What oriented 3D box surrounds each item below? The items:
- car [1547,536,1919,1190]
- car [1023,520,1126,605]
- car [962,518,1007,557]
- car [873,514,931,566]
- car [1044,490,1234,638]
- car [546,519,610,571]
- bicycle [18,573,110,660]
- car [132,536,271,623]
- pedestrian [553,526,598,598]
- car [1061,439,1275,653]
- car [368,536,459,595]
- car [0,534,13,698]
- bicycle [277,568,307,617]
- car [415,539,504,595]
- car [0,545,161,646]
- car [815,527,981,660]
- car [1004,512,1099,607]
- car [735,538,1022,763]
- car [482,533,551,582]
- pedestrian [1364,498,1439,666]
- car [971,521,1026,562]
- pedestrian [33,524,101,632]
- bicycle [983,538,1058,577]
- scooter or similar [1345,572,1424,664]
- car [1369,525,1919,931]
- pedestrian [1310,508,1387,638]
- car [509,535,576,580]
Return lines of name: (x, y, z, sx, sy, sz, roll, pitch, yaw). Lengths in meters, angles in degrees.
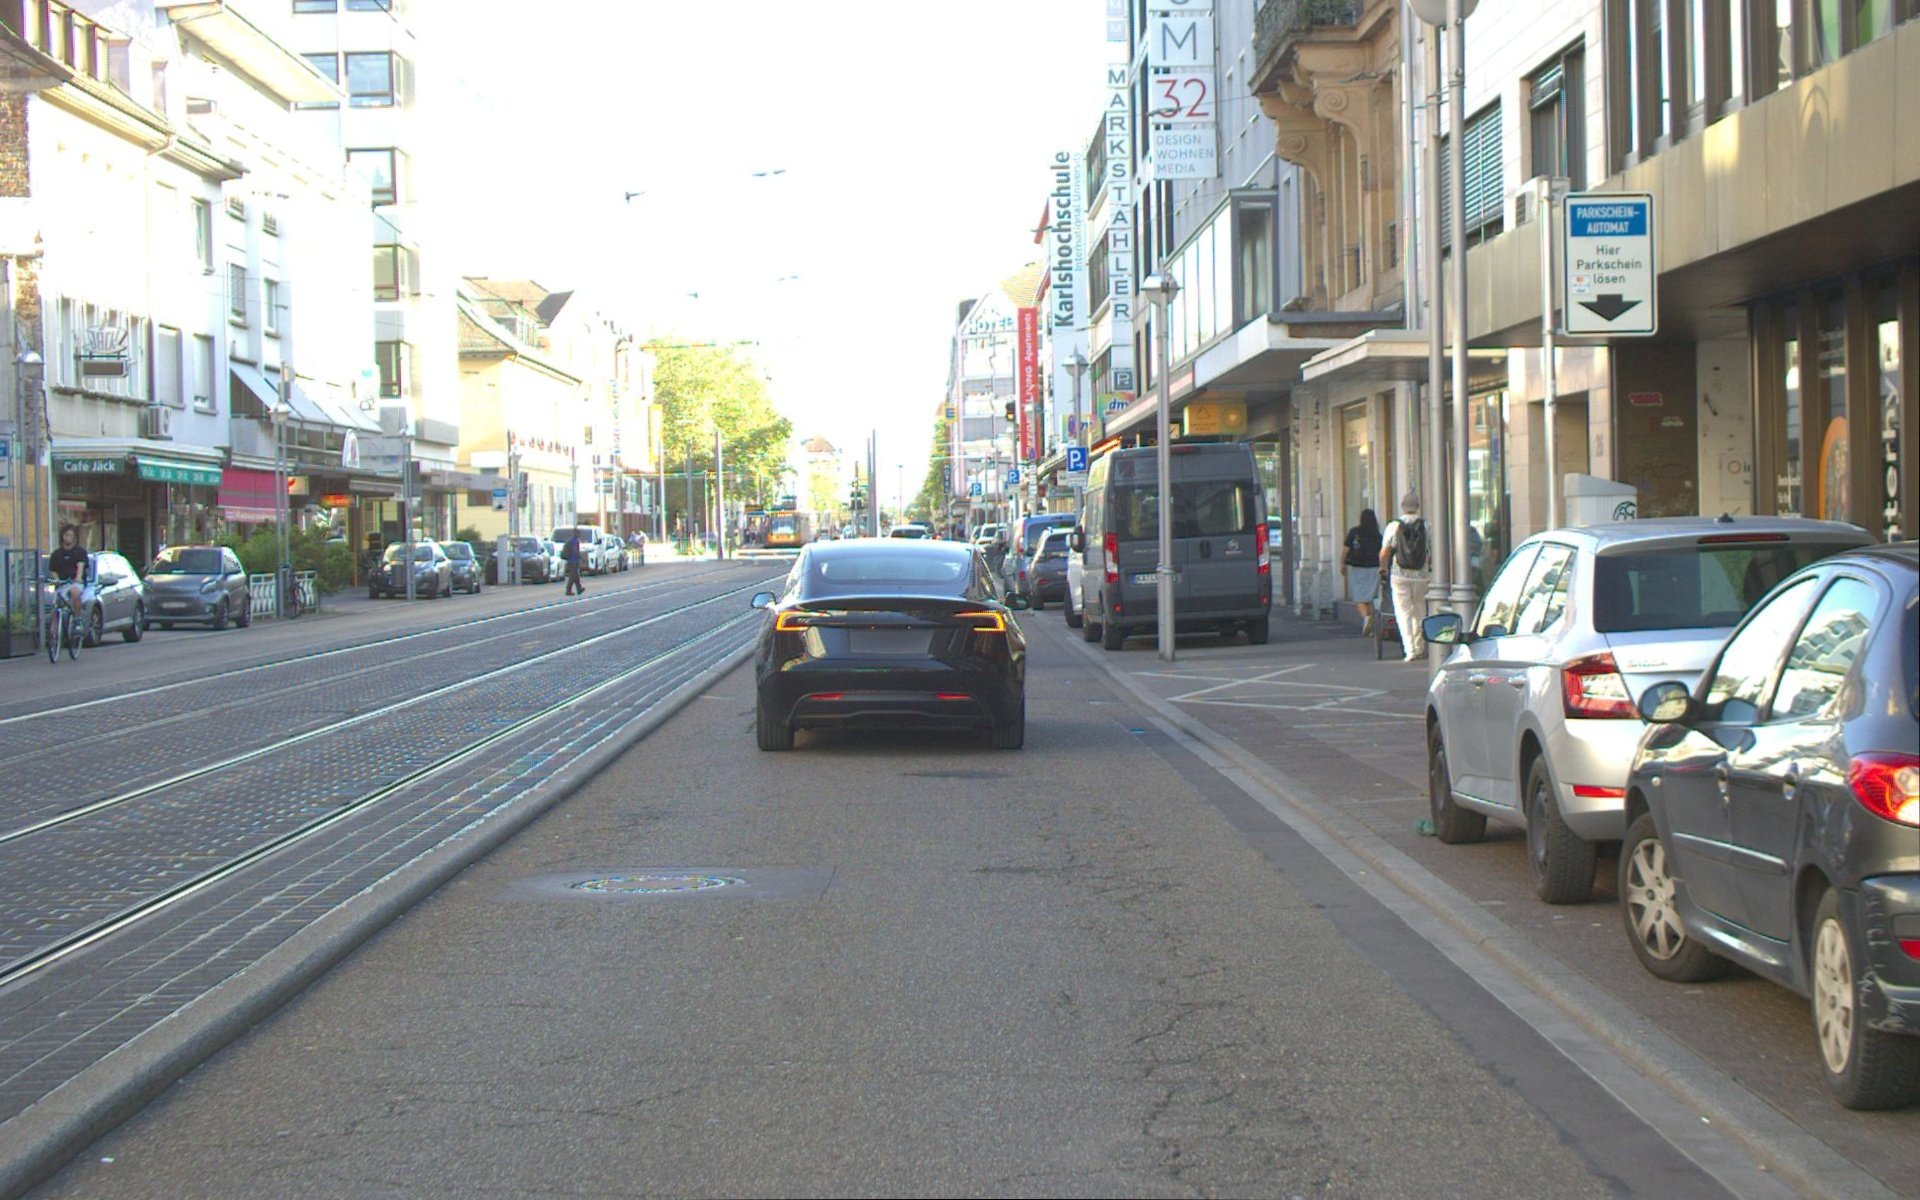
car: (2.998, 0.560, 10.089, 1.848, 1.457, 4.302, -2, 1, 1)
car: (2.111, -0.724, 64.247, 1.751, 1.494, 3.754, -2, 2, 0)
car: (1.112, -2.883, 159.762, 1.993, 1.747, 4.000, -1, 1, -1)
car: (-2.165, -2.262, 128.866, 2.085, 1.864, 3.754, -1, 2, 0)
car: (2.562, -0.556, 50.390, 2.158, 1.920, 4.618, -4, 2, -3)
car: (-14.983, -2.182, 134.964, 2.009, 1.954, 4.725, -1, 1, -1)
bicycle: (-12.080, 0.208, 46.403, 0.578, 1.111, 1.953, -1, 1, 4)
car: (-14.126, -0.407, 64.210, 1.675, 1.540, 3.743, 1, 1, 1)
pedestrian: (-10.046, -0.993, 89.848, 0.772, 1.842, 0.827, -1, 1, 30)
car: (2.576, -0.710, 43.836, 2.171, 2.453, 5.362, -3, 1, -1)
car: (-14.641, -0.944, 92.280, 1.769, 1.503, 3.864, -1, 1, 1)
car: (-10.274, 0.230, 31.619, 1.890, 1.588, 4.263, -3, 1, 0)
bicycle: (-13.806, -0.161, 71.067, 0.368, 0.999, 1.605, -2, 1, -19)
car: (-14.308, -0.966, 98.416, 1.770, 1.503, 3.860, -1, 1, 3)
car: (-14.190, -0.075, 54.600, 1.993, 1.526, 4.757, 0, 0, -1)
car: (-0.657, -0.093, 39.352, 1.762, 1.414, 4.354, -1, 1, 1)
car: (1.850, -0.859, 70.384, 1.821, 1.864, 3.754, -1, 2, 0)
car: (-0.539, 0.292, 24.707, 1.869, 1.422, 4.365, -1, 2, 0)
car: (-14.906, -1.441, 115.753, 1.718, 1.566, 3.849, -1, 1, 1)
pedestrian: (4.612, -0.197, 35.974, 0.556, 1.708, 0.955, -3, 1, -2)
car: (1.449, -2.218, 131.269, 1.993, 1.537, 4.000, -1, 1, -1)
pedestrian: (-12.080, -0.304, 46.538, 0.624, 1.439, 0.874, -1, 0, 4)
bicycle: (1.797, -1.264, 102.459, 2.159, 1.093, 0.686, -1, 1, -3)
scooter or similar: (4.555, 0.183, 36.937, 0.593, 0.933, 1.299, -3, 1, -2)
car: (2.939, 0.427, 14.854, 1.745, 1.457, 4.296, -2, 1, -1)
pedestrian: (4.753, -0.333, 42.108, 0.769, 1.538, 0.804, -3, 1, -1)
car: (-14.750, -1.527, 121.594, 1.770, 1.503, 3.972, -1, 1, 1)
